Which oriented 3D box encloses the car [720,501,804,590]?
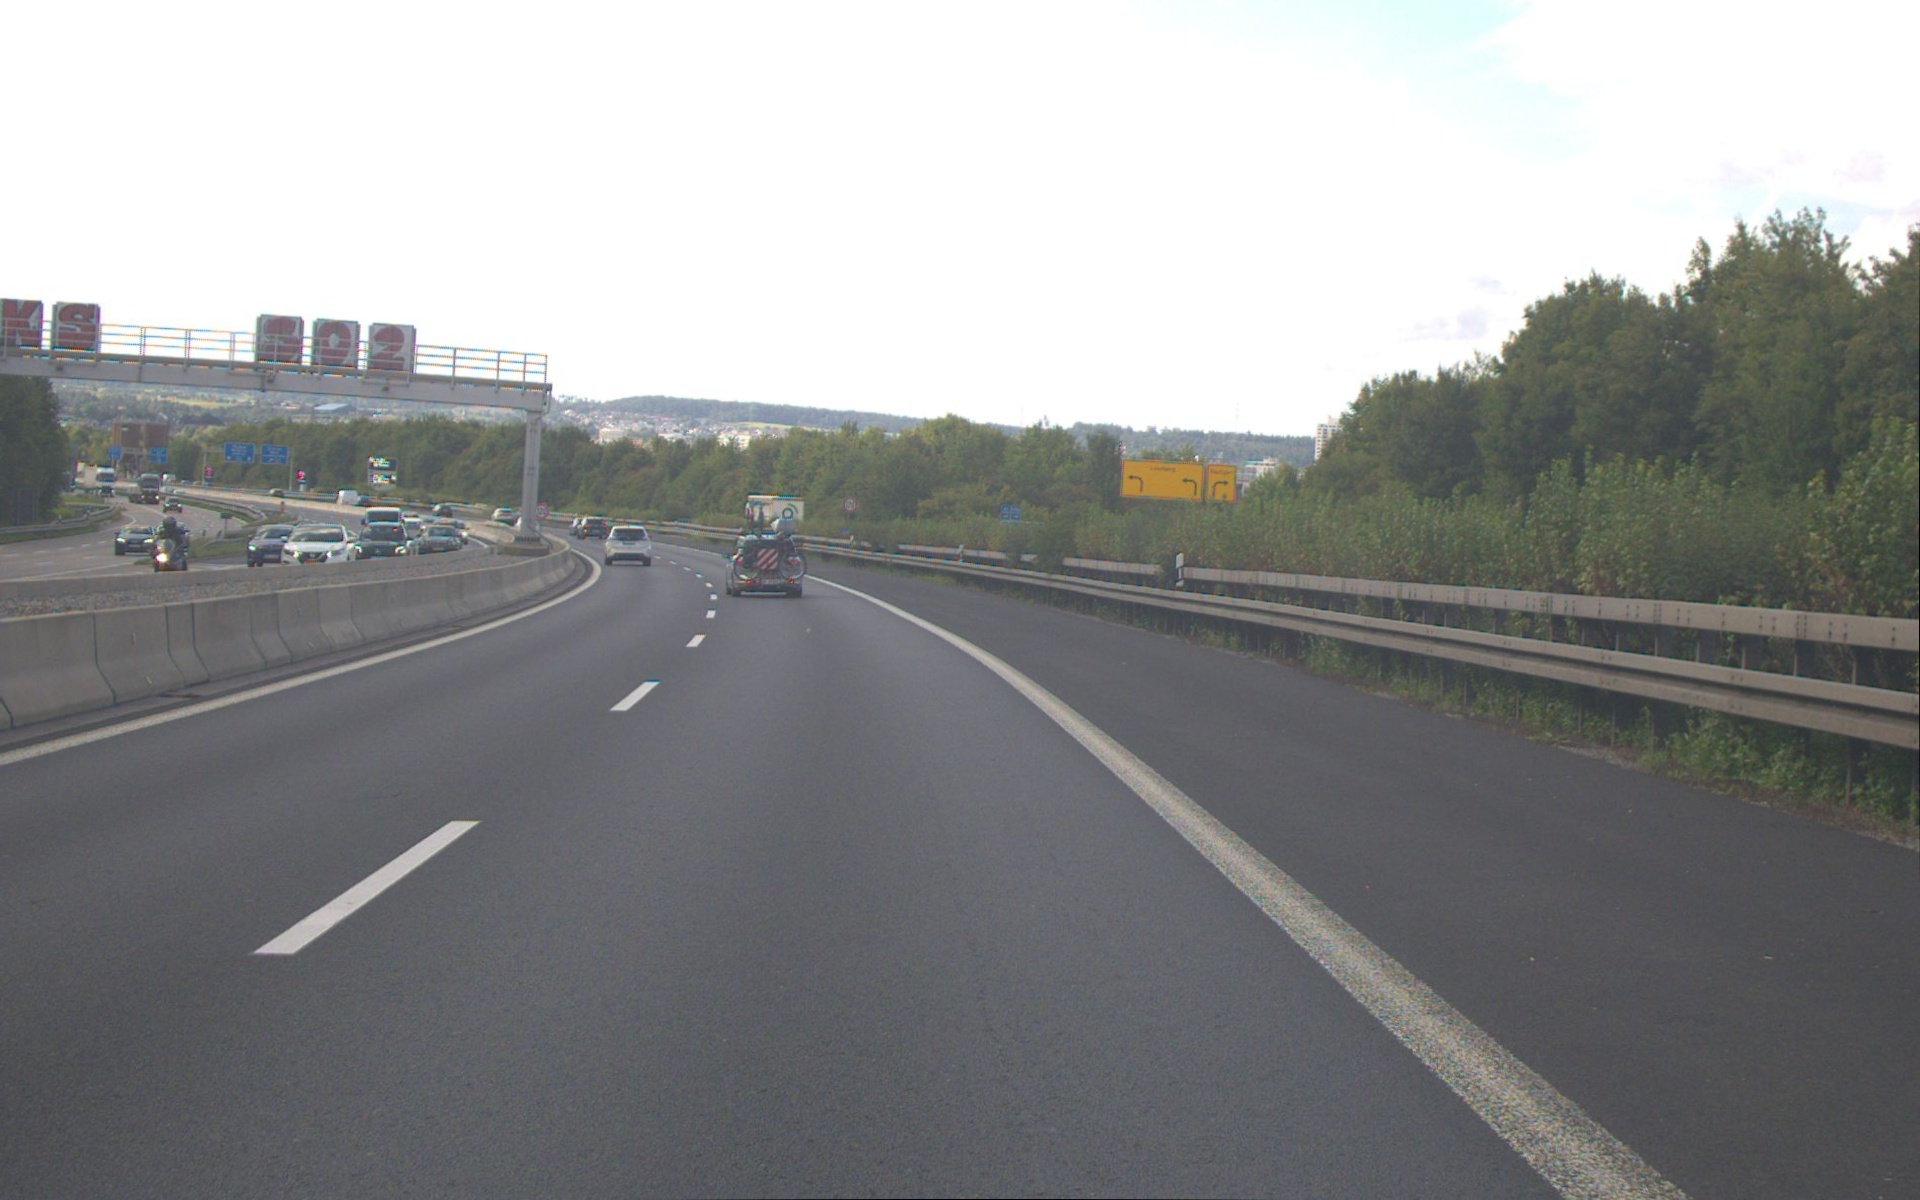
[{"bbox_3d":[-5.027,-1.407,87.628,2.030,2.144,4.001,1,2,-2],"label":"car"}]

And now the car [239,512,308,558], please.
[{"bbox_3d":[-24.019,-2.282,120.429,1.993,1.534,4.740,1,1,-7],"label":"car"}]

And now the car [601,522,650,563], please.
[{"bbox_3d":[-14.449,-2.474,148.373,1.993,1.678,4.001,1,0,-7],"label":"car"}]

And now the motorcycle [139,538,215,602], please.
[{"bbox_3d":[-15.107,-0.588,66.376,0.922,1.184,2.639,1,1,-2],"label":"motorcycle"}]

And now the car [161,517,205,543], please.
[{"bbox_3d":[-40.131,-3.628,177.624,1.822,1.307,4.188,1,1,-8],"label":"car"}]

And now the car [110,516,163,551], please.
[{"bbox_3d":[-37.226,-3.011,155.534,1.804,1.568,4.560,1,1,-7],"label":"car"}]

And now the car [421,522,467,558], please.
[{"bbox_3d":[-22.876,-2.682,152.448,1.698,1.534,4.502,1,1,-5],"label":"car"}]

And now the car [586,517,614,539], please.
[{"bbox_3d":[-26.516,-5.261,253.075,1.604,1.552,4.001,1,0,-12],"label":"car"}]

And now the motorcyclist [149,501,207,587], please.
[{"bbox_3d":[-15.117,-1.082,66.480,0.895,1.628,0.922,1,1,-1],"label":"motorcyclist"}]

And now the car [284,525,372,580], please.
[{"bbox_3d":[-17.414,-1.318,94.839,1.760,1.455,4.296,1,1,-2],"label":"car"}]

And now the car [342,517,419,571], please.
[{"bbox_3d":[-18.870,-1.832,112.125,1.876,1.692,4.315,1,1,-2],"label":"car"}]
